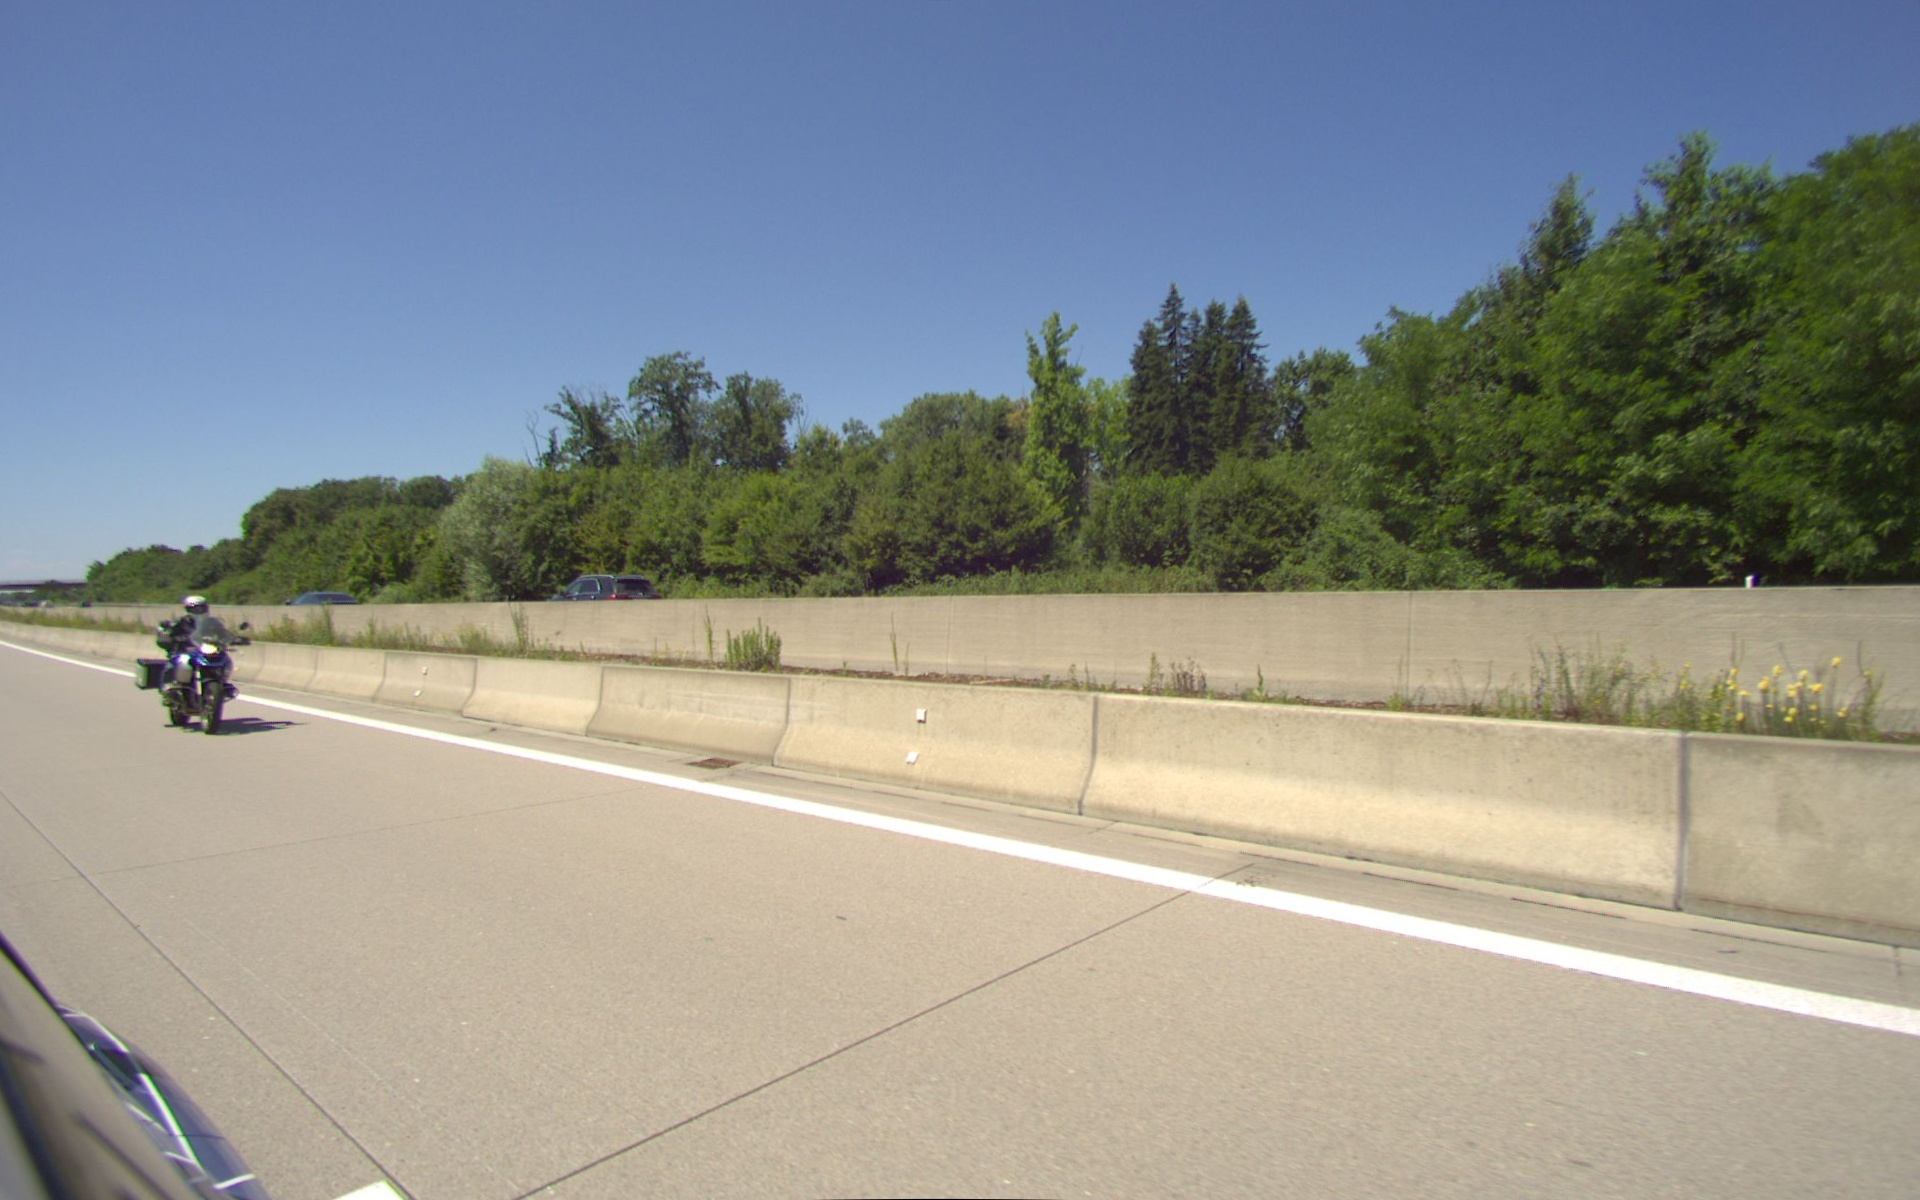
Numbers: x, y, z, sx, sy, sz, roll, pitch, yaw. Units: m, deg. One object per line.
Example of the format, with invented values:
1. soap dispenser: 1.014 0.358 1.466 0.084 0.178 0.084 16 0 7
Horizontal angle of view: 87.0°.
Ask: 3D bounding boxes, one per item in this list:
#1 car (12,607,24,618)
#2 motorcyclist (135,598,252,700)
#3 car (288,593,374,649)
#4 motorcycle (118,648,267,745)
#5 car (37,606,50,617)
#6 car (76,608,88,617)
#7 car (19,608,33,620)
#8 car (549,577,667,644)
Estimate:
1. car: -174.511 2.355 187.452 3.521 2.029 1.416 -1 0 44
2. motorcyclist: -9.726 0.597 12.846 0.910 1.218 1.014 -2 -1 40
3. car: -23.312 0.751 37.457 4.005 1.936 1.641 -1 0 42
4. motorcycle: -9.840 1.176 12.941 2.411 1.056 1.011 -1 -1 40
5. car: -177.824 2.228 196.415 4.104 2.029 1.616 -1 0 44
6. car: -161.148 2.310 185.800 3.274 1.728 1.416 -1 0 44
7. car: -156.792 2.348 169.917 4.788 2.029 1.416 -1 0 44
8. car: -10.926 0.325 31.273 4.137 1.936 1.641 -1 0 42
